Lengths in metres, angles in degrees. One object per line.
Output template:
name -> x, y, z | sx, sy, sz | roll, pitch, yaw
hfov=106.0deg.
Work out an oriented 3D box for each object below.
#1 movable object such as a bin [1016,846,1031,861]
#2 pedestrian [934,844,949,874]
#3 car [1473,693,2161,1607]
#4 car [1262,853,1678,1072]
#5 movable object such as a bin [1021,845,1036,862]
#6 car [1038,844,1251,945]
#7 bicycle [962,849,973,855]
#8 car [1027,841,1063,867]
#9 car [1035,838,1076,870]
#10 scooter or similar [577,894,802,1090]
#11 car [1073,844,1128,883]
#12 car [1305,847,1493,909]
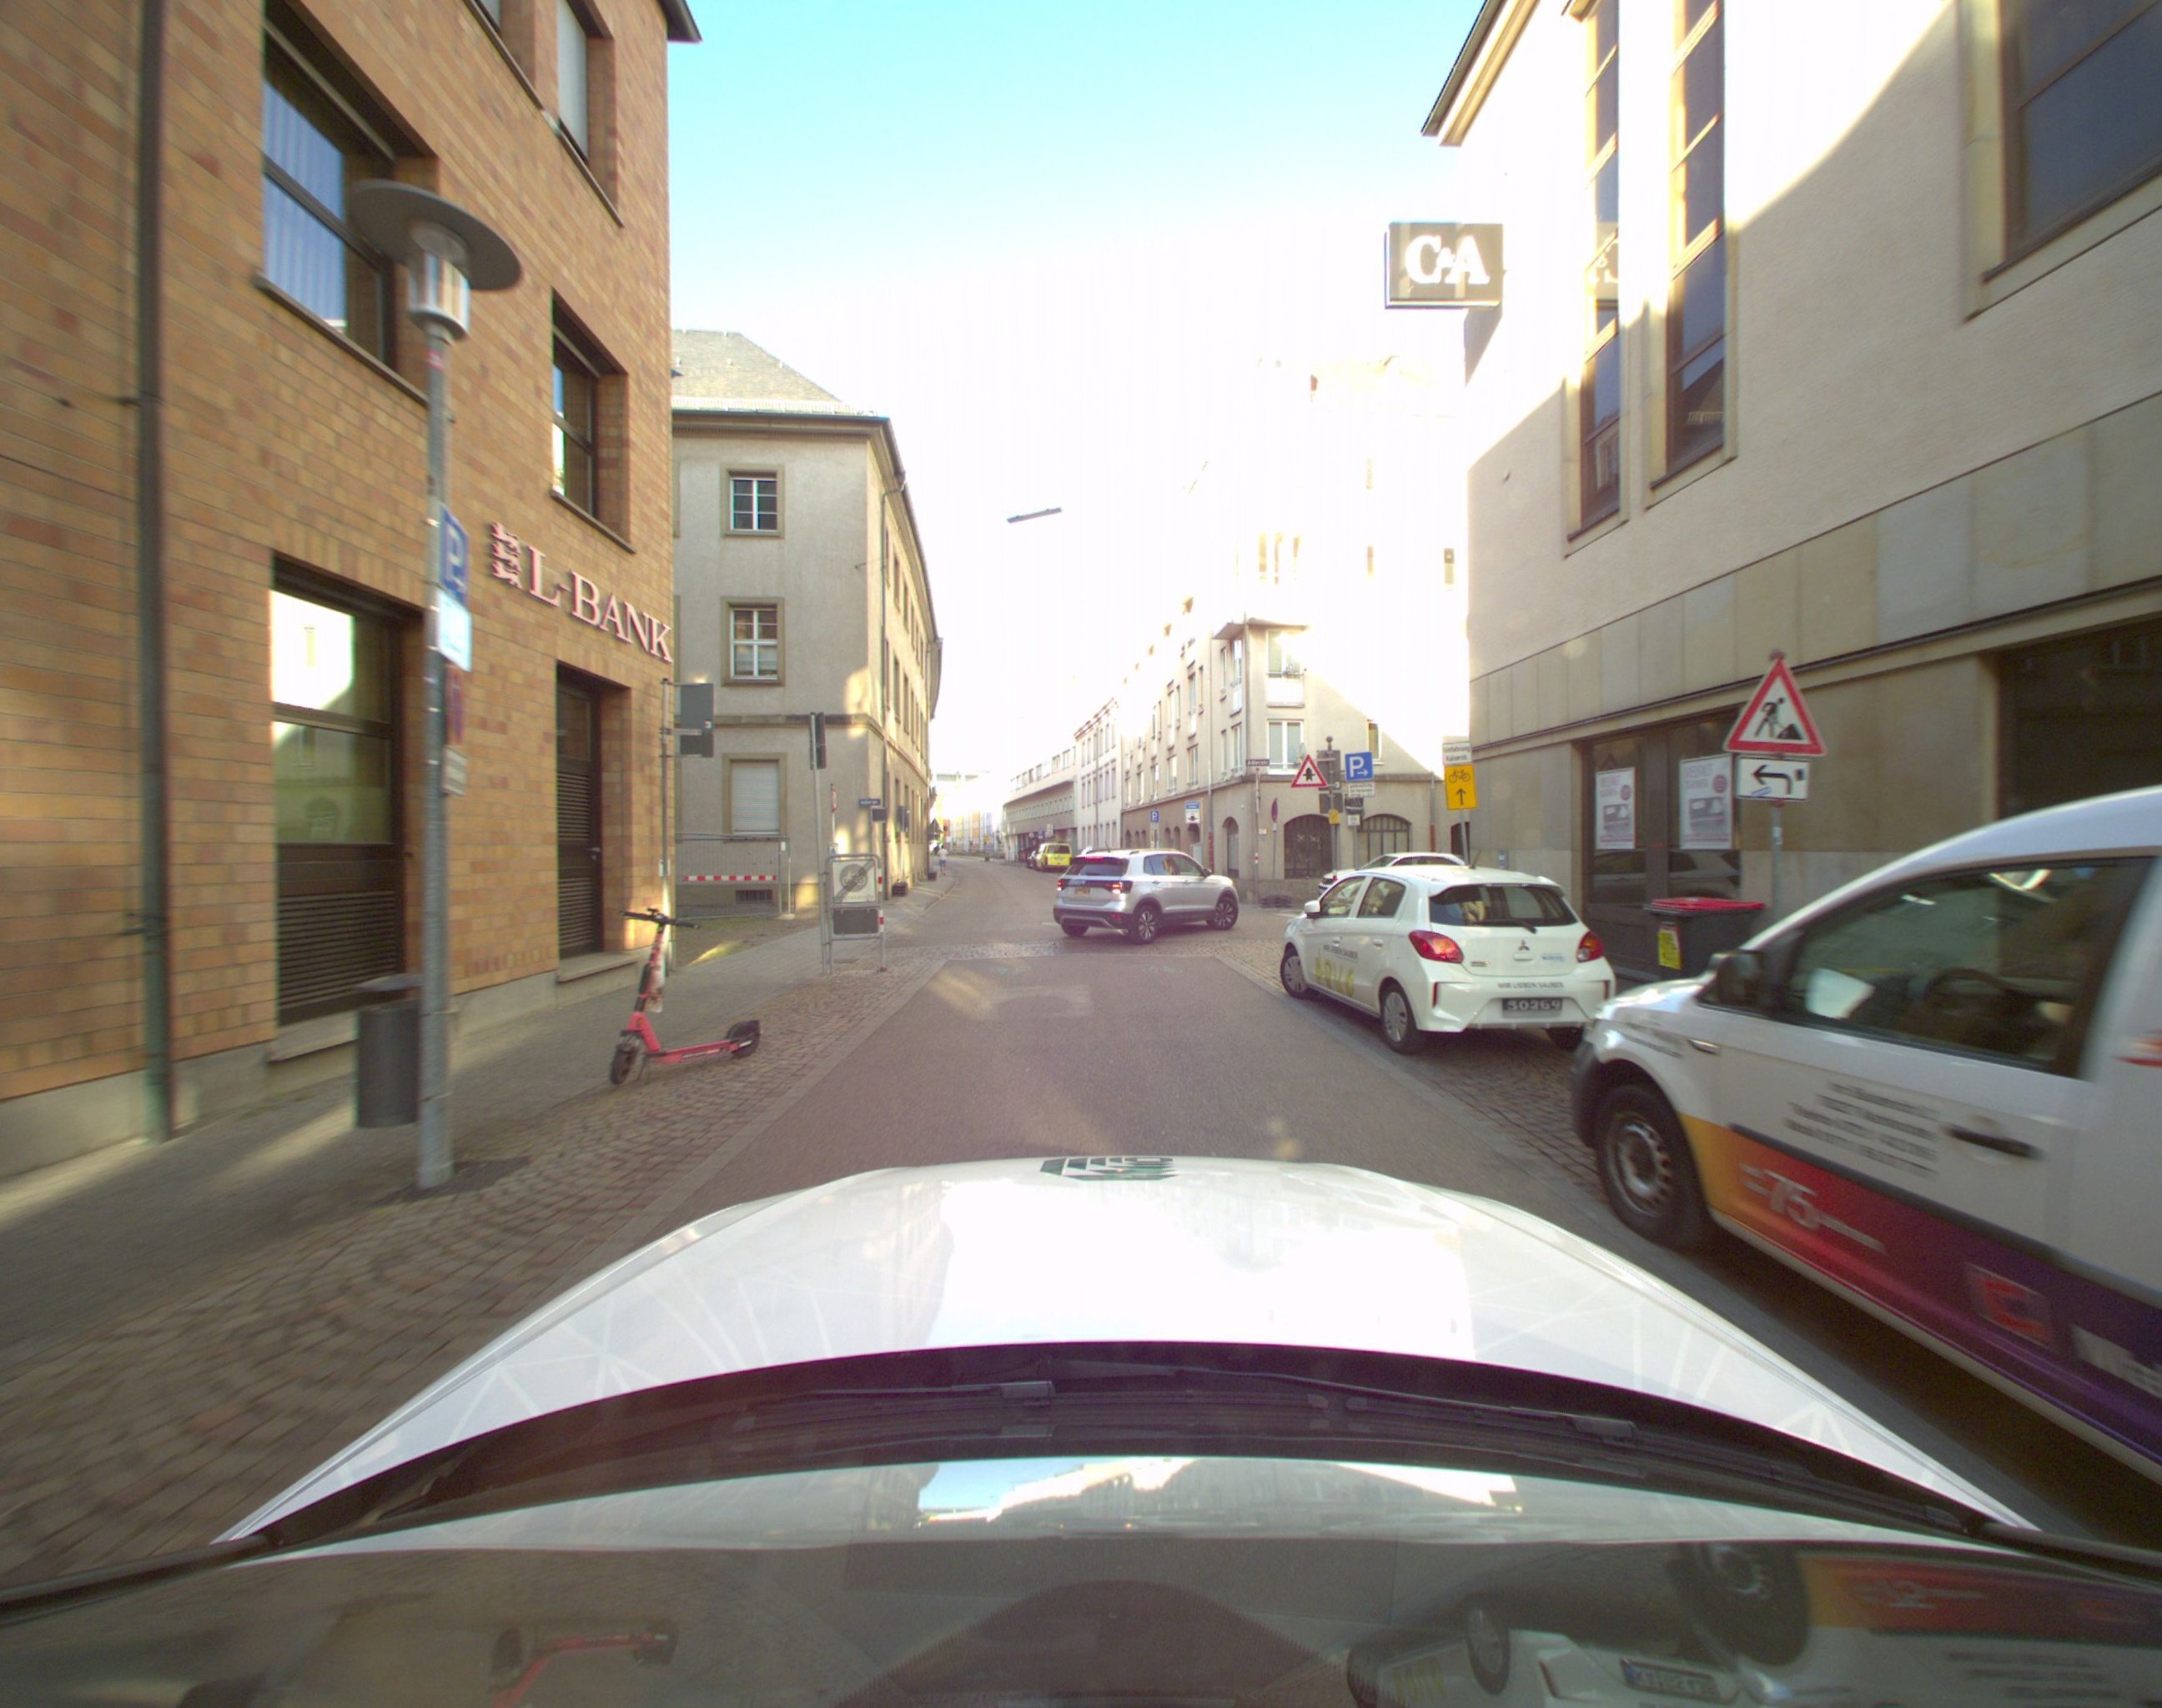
movable object such as a bin -> -5.669, -0.051, 80.202 | 1.133, 1.479, 1.731 | 0, 0, -15
pedestrian -> -7.945, 0.289, 46.379 | 0.767, 1.724, 0.684 | 0, 0, -13
car -> 3.040, 0.584, 1.890 | 1.824, 1.791, 5.214 | 1, 0, 1
car -> 3.250, 0.761, 7.842 | 1.884, 1.518, 4.057 | 0, 0, -4
movable object such as a bin -> -5.113, -0.062, 78.498 | 1.133, 1.558, 1.731 | 0, 0, -15
car -> 1.289, 0.628, 15.028 | 1.819, 1.562, 4.025 | -1, 1, 42
bicycle -> -19.937, -0.356, 142.969 | 1.782, 1.000, 0.544 | 0, 0, -13
car -> -2.728, -0.018, 60.049 | 2.054, 1.873, 4.084 | -1, 1, -11
car -> -1.736, -0.040, 54.261 | 2.054, 2.013, 4.159 | -1, 1, -11
scooter or similar -> -2.913, 0.955, 6.180 | 0.691, 1.217, 1.365 | -1, 1, 28
car -> 0.839, 0.390, 37.790 | 1.966, 1.692, 4.092 | 1, 1, -7
car -> 8.239, 0.596, 21.374 | 4.204, 1.553, 1.901 | 0, 0, -2
